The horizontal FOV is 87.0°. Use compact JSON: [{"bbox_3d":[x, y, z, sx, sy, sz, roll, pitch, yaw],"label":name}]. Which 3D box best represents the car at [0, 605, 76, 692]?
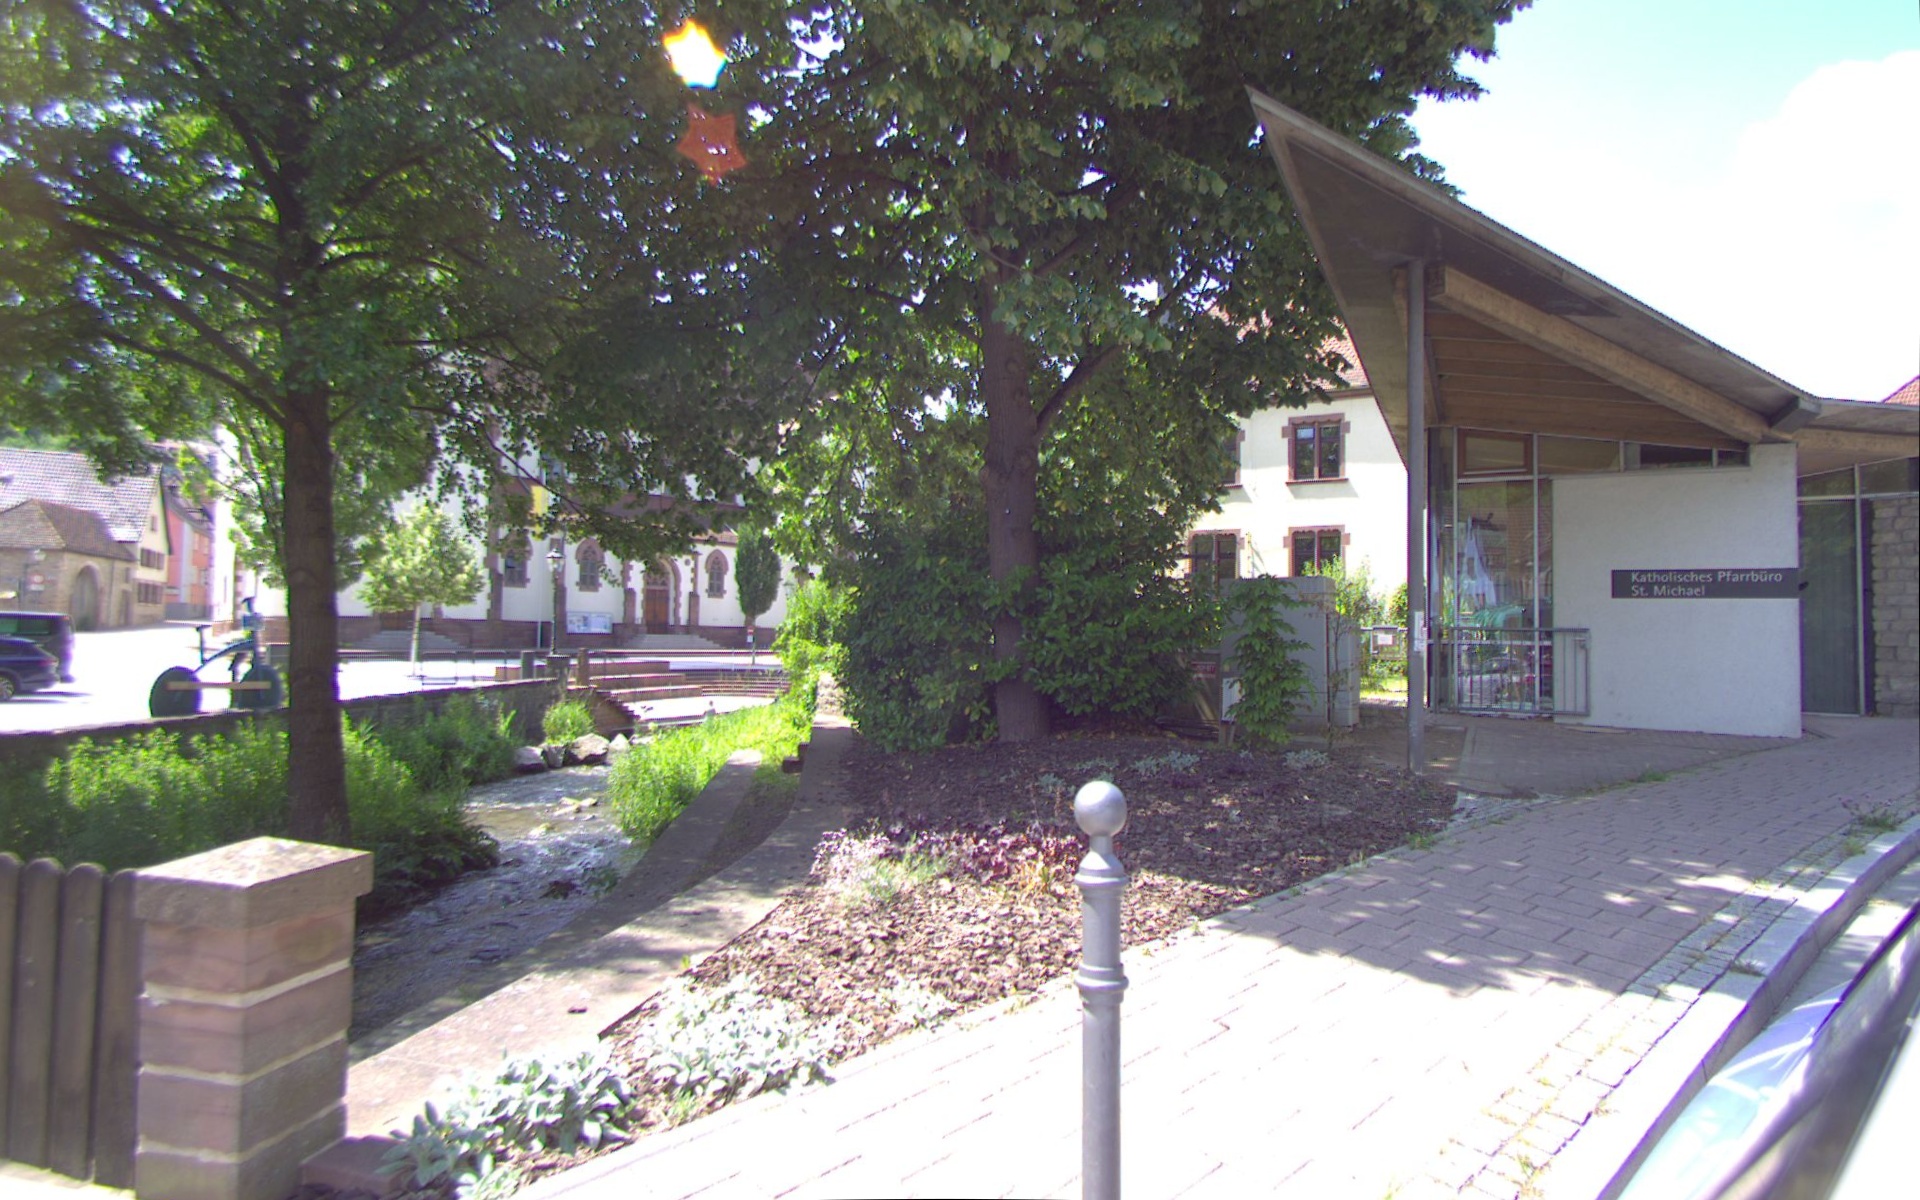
[{"bbox_3d":[-24.332,1.075,23.808,1.952,2.053,5.041,0,-4,43],"label":"car"}]

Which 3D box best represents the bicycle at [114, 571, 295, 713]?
[{"bbox_3d":[-11.900,0.653,16.095,0.769,2.040,2.663,-3,-2,3],"label":"bicycle"}]

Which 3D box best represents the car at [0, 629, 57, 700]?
[{"bbox_3d":[-22.513,1.341,21.734,1.584,1.501,4.468,0,-4,43],"label":"car"}]
